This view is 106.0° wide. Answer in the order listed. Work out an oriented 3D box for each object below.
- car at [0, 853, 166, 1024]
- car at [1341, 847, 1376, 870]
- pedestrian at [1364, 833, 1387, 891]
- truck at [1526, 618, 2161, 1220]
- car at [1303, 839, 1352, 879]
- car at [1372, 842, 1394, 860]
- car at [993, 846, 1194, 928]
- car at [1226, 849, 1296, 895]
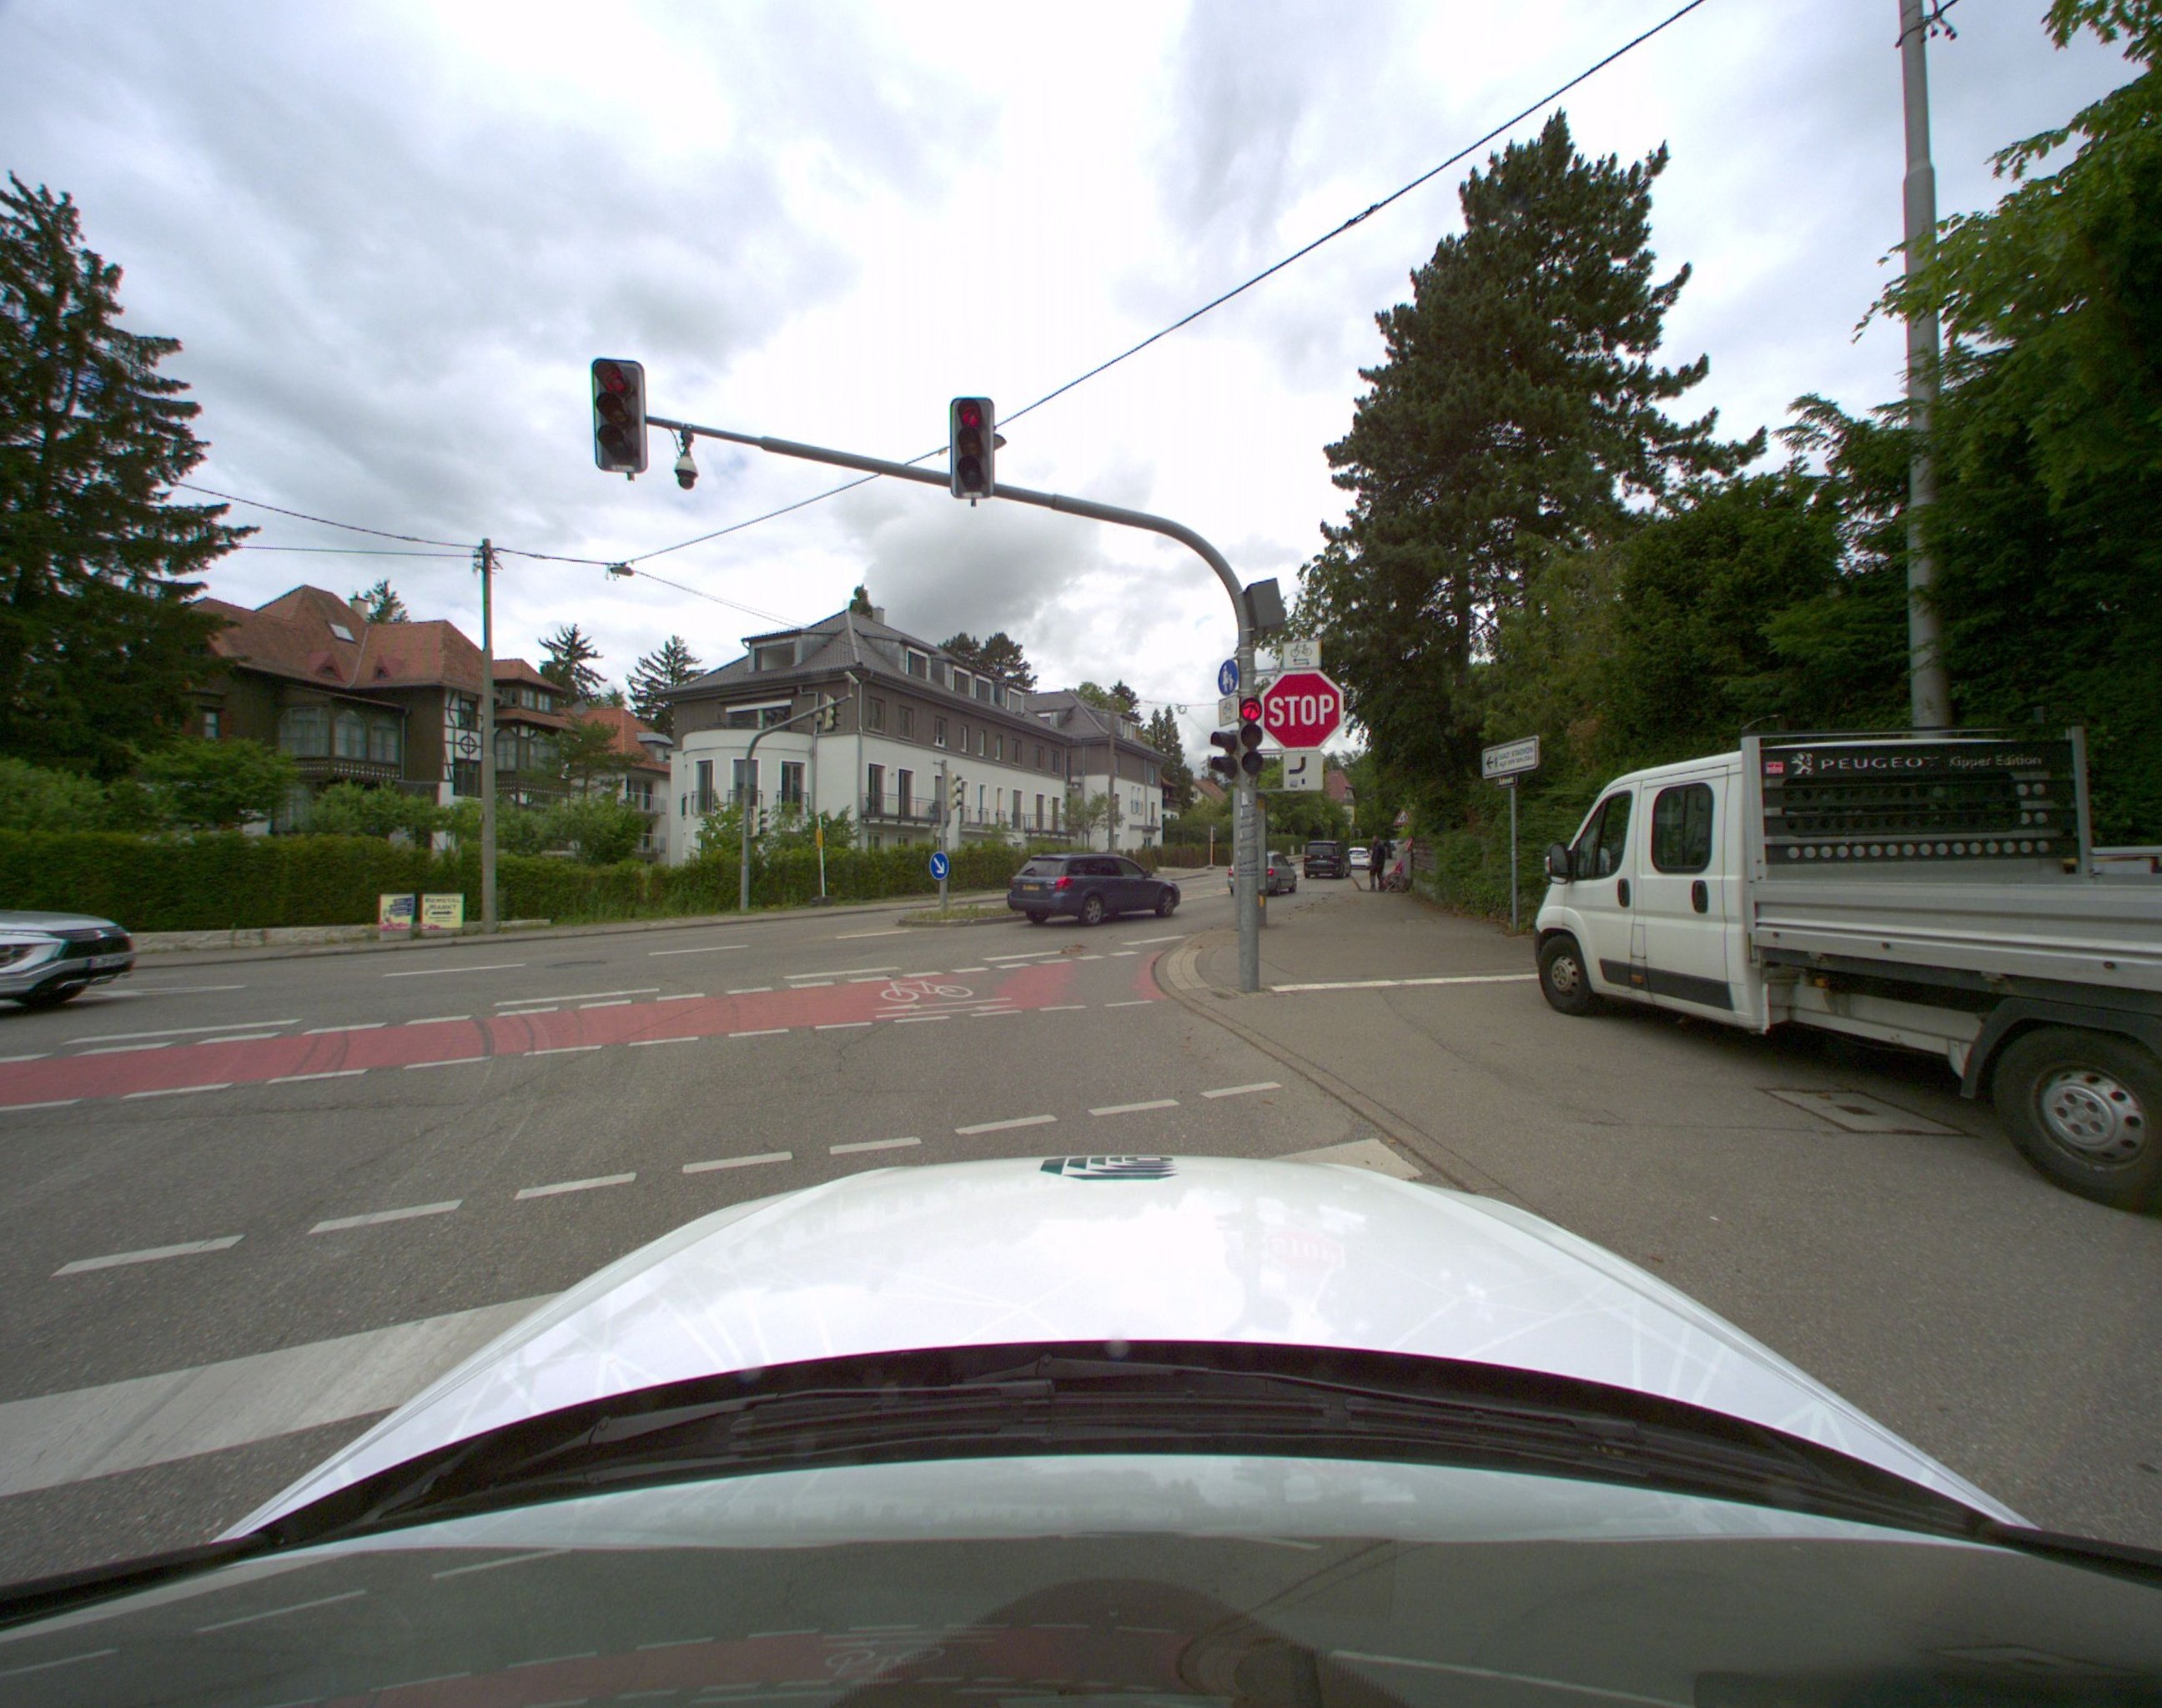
[{"bbox_3d":[-13.313,0.949,8.594,4.487,1.753,1.801,-2,0,-20],"label":"car"},{"bbox_3d":[19.043,0.290,55.777,1.824,1.459,4.102,1,1,25],"label":"car"},{"bbox_3d":[9.868,0.263,27.291,0.594,1.907,0.559,0,0,2],"label":"pedestrian"},{"bbox_3d":[5.261,0.240,5.025,2.198,2.243,5.729,0,0,4],"label":"truck"},{"bbox_3d":[12.831,0.212,42.188,1.902,1.894,4.935,1,1,23],"label":"car"},{"bbox_3d":[32.397,-0.346,87.434,1.922,1.825,4.101,1,1,24],"label":"car"},{"bbox_3d":[0.434,0.644,18.172,1.782,1.527,4.772,-2,0,41],"label":"car"},{"bbox_3d":[6.255,0.585,27.964,1.679,1.430,3.769,-2,0,22],"label":"car"}]
